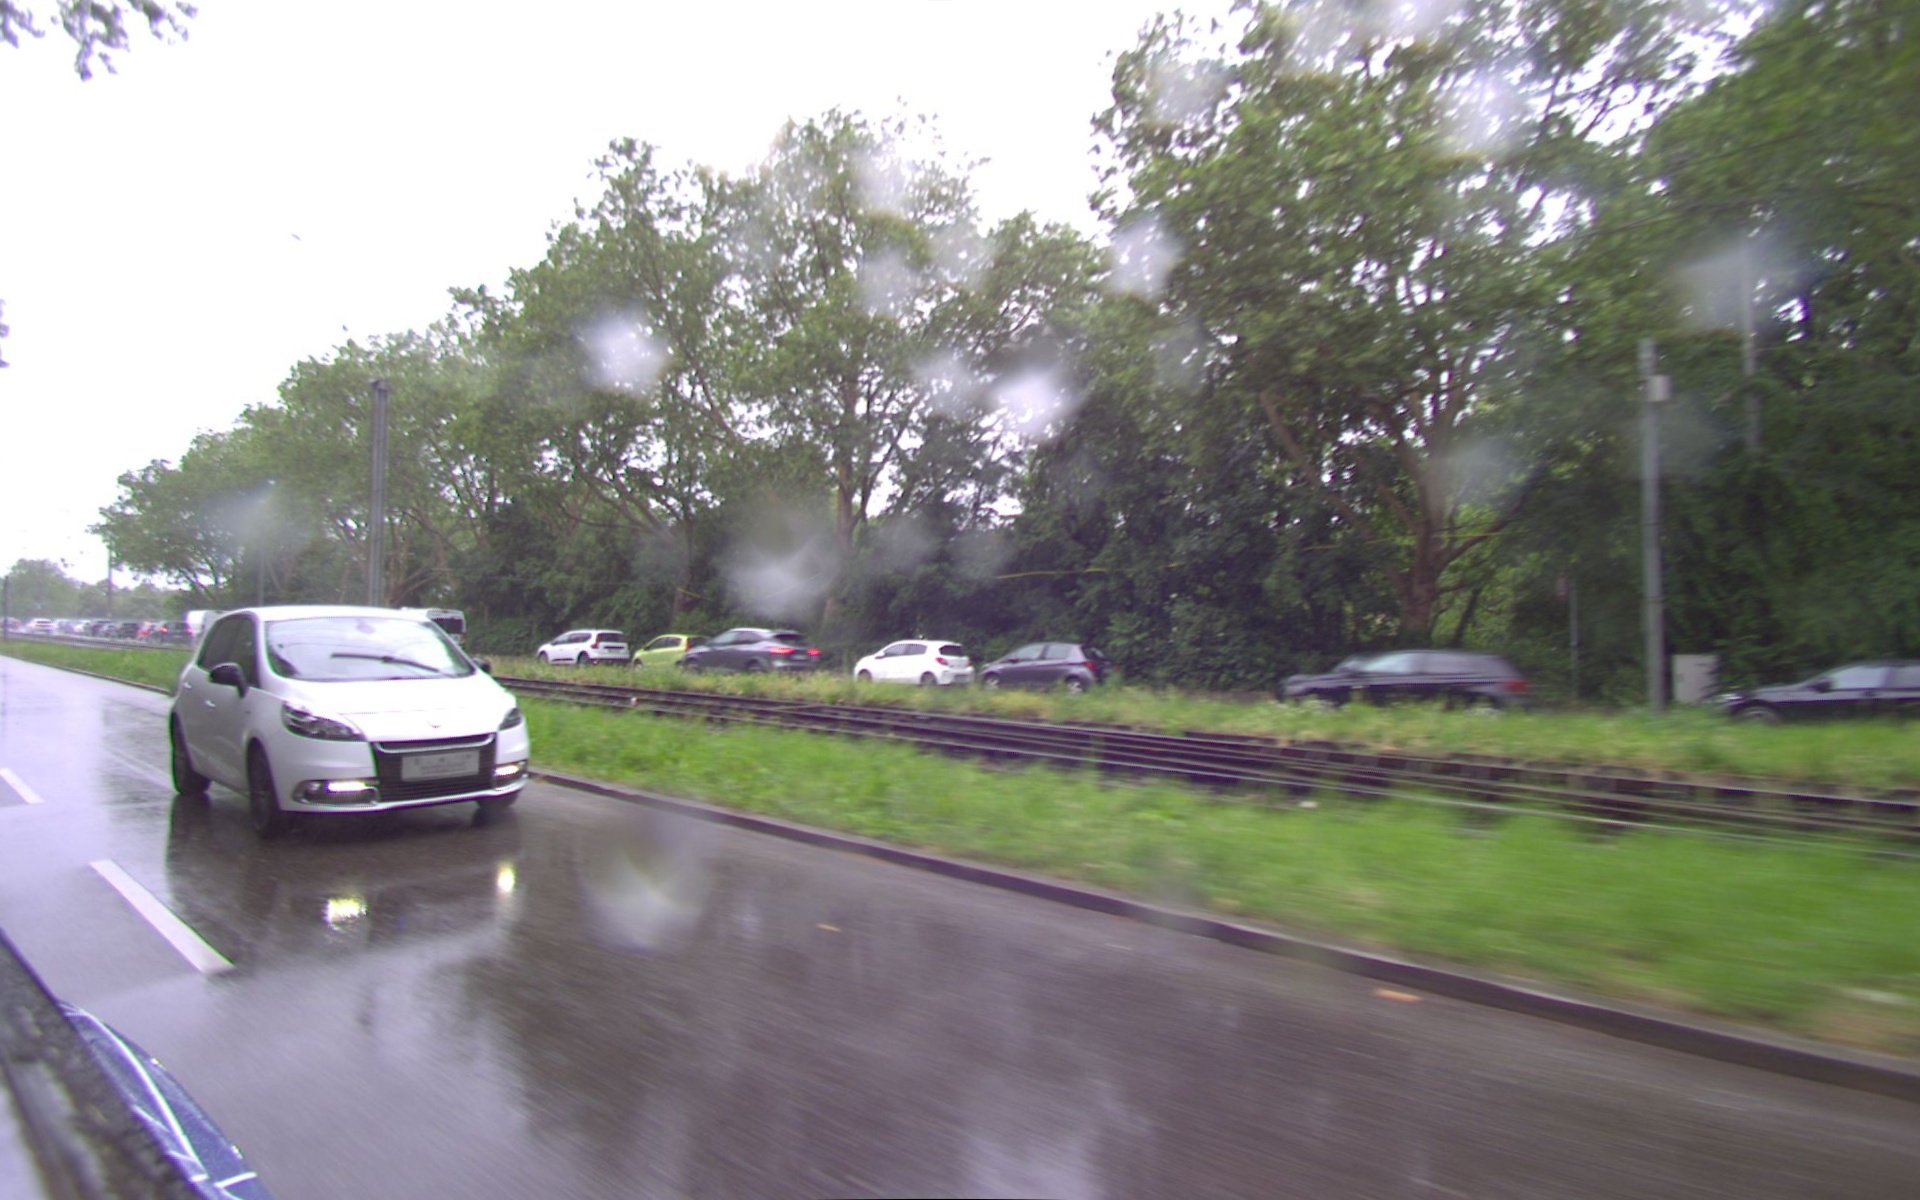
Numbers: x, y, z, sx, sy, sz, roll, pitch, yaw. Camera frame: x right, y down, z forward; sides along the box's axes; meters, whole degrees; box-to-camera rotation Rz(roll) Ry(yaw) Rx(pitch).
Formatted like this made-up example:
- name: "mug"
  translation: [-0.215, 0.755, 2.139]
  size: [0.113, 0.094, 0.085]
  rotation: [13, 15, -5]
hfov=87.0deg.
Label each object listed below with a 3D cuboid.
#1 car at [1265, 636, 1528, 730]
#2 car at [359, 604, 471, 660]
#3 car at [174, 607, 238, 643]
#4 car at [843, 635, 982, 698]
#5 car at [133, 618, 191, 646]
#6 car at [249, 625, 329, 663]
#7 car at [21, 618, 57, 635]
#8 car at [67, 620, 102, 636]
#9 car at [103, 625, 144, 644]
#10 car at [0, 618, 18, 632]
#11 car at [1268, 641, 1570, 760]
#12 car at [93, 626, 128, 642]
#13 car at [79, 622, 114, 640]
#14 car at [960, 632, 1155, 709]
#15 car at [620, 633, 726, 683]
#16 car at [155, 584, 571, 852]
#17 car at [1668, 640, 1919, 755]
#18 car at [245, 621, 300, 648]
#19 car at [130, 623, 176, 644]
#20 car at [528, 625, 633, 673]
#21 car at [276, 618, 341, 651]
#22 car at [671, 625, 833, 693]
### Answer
- name: "car"
  translation: [8.884, 1.630, 20.793]
  size: [4.605, 1.670, 2.011]
  rotation: [-1, -4, 39]
- name: "car"
  translation: [-26.778, 1.549, 49.622]
  size: [6.559, 2.560, 2.366]
  rotation: [-1, -4, 39]
- name: "car"
  translation: [-55.027, 1.797, 73.834]
  size: [6.135, 2.465, 2.306]
  rotation: [0, -3, 40]
- name: "car"
  translation: [-1.414, 1.895, 29.422]
  size: [3.809, 1.661, 1.743]
  rotation: [-1, -4, 39]
- name: "car"
  translation: [-52.517, 2.085, 66.568]
  size: [4.255, 1.764, 2.011]
  rotation: [-1, -4, 39]
- name: "car"
  translation: [-34.024, 2.211, 51.287]
  size: [4.689, 1.764, 2.011]
  rotation: [-1, -4, 39]
- name: "car"
  translation: [-93.639, 2.687, 102.887]
  size: [4.764, 1.579, 1.958]
  rotation: [-1, -4, 39]
- name: "car"
  translation: [-88.892, 2.812, 102.708]
  size: [4.575, 1.522, 1.867]
  rotation: [-1, -4, 40]
- name: "car"
  translation: [-75.494, 3.113, 91.304]
  size: [4.380, 1.564, 2.013]
  rotation: [-1, -4, 39]
- name: "car"
  translation: [-110.401, 2.907, 116.736]
  size: [4.564, 1.564, 2.012]
  rotation: [-1, -2, 41]
- name: "car"
  translation: [7.616, 1.586, 16.956]
  size: [4.271, 1.670, 2.012]
  rotation: [-1, -4, 38]
- name: "car"
  translation: [-79.395, 3.163, 94.581]
  size: [3.962, 1.389, 1.866]
  rotation: [-1, -4, 40]
- name: "car"
  translation: [-84.018, 2.987, 98.444]
  size: [4.366, 1.663, 1.866]
  rotation: [-1, -4, 40]
- name: "car"
  translation: [2.453, 1.758, 26.183]
  size: [4.689, 1.764, 2.011]
  rotation: [-1, -4, 39]
- name: "car"
  translation: [-10.330, 2.048, 36.287]
  size: [3.809, 1.661, 1.743]
  rotation: [-1, -4, 39]
- name: "car"
  translation: [-5.078, 0.758, 8.336]
  size: [4.263, 1.636, 1.844]
  rotation: [-1, -1, 43]
- name: "car"
  translation: [14.462, 1.554, 16.550]
  size: [4.605, 1.670, 2.011]
  rotation: [-1, -4, 39]
- name: "car"
  translation: [-43.215, 2.168, 63.568]
  size: [4.022, 1.564, 1.799]
  rotation: [-1, -4, 41]
- name: "car"
  translation: [-66.921, 2.777, 83.899]
  size: [4.380, 1.564, 2.013]
  rotation: [-1, -4, 39]
- name: "car"
  translation: [-14.949, 1.911, 39.773]
  size: [4.526, 1.741, 1.733]
  rotation: [-1, -4, 39]
- name: "car"
  translation: [-38.489, 2.022, 59.755]
  size: [4.637, 1.876, 1.936]
  rotation: [-1, -4, 41]
- name: "car"
  translation: [-5.759, 1.583, 27.804]
  size: [4.390, 1.670, 1.994]
  rotation: [-1, -4, 39]
